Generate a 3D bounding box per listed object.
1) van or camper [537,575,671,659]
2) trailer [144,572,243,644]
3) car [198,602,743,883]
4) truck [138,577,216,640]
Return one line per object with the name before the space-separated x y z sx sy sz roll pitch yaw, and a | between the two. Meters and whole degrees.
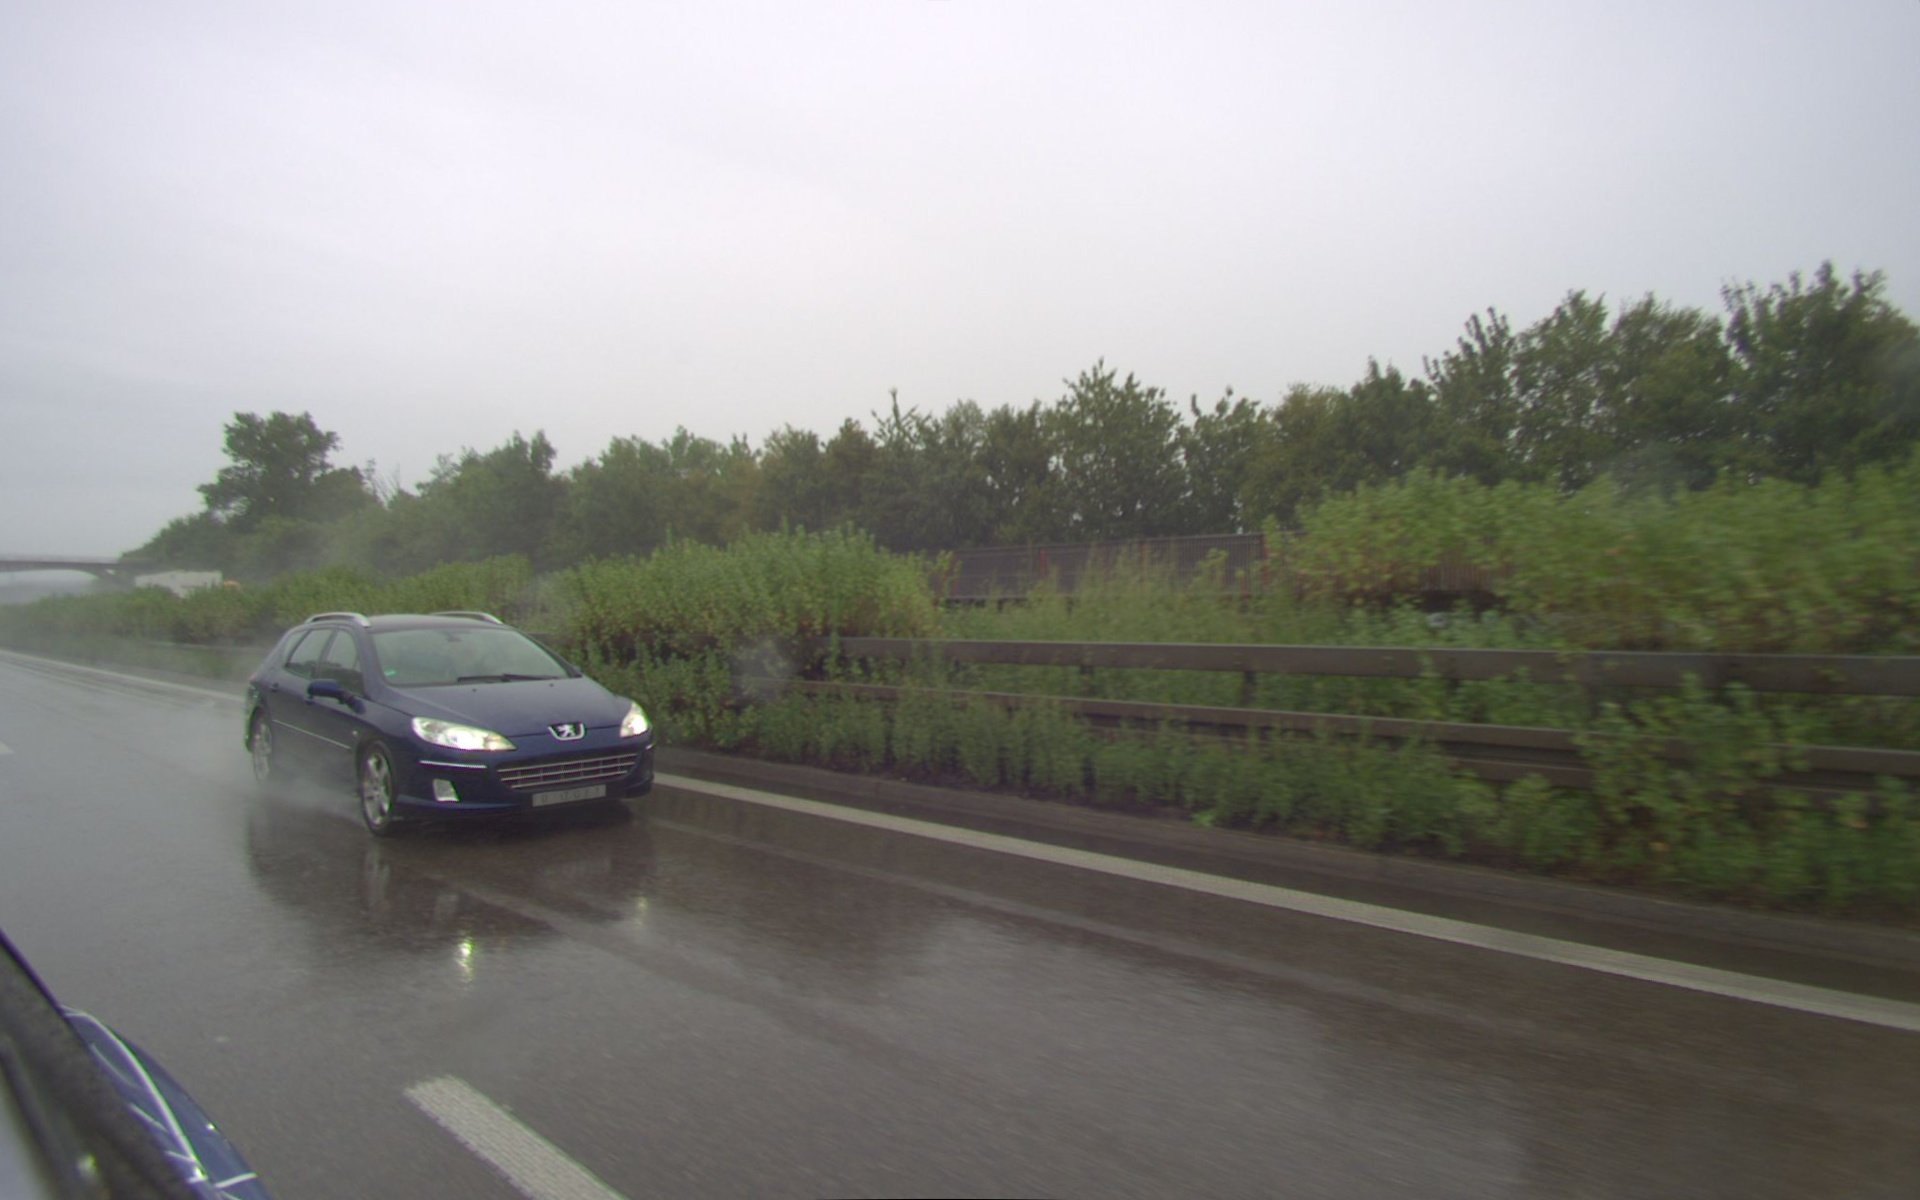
van or camper | -11.166 0.520 31.589 4.590 2.412 1.972 -1 0 42
trailer | -55.829 0.610 73.441 3.825 4.731 15.035 -1 0 -45
car | -4.100 0.806 7.944 5.156 1.496 2.033 -1 0 42
truck | -61.108 0.709 78.883 3.791 4.674 9.414 0 -1 -44
